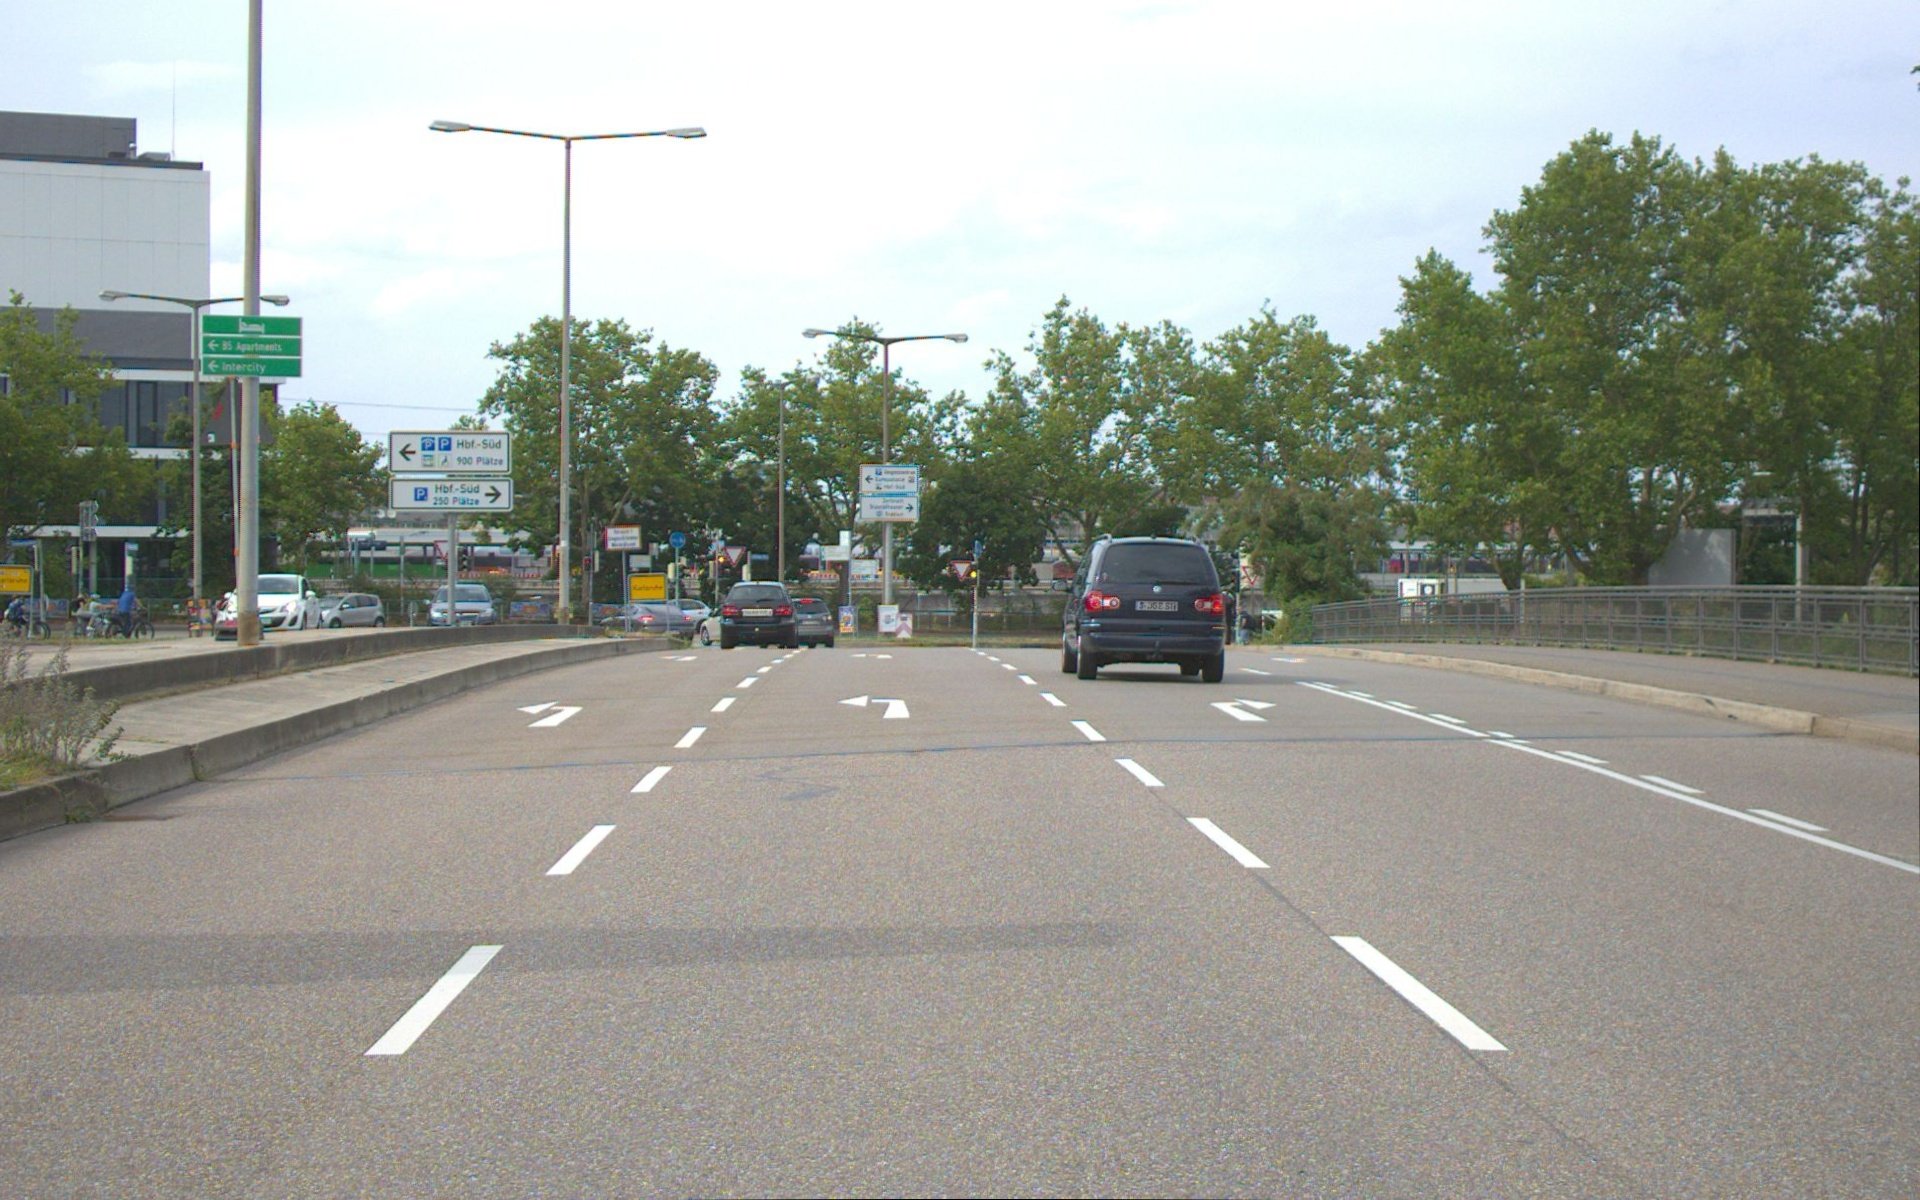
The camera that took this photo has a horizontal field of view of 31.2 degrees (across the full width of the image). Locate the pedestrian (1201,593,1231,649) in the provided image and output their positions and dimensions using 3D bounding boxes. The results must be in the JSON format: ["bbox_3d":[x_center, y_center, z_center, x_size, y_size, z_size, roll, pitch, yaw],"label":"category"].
[{"bbox_3d":[7.640,0.615,102.662,0.792,1.637,0.801,2,1,0],"label":"pedestrian"}]

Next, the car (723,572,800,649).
[{"bbox_3d":[-4.703,0.220,81.773,1.730,1.647,4.116,1,2,-3],"label":"car"}]

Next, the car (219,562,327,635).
[{"bbox_3d":[-14.734,-0.061,73.881,1.736,1.477,4.084,-1,1,-4],"label":"car"}]

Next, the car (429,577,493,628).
[{"bbox_3d":[-12.721,0.040,87.549,1.502,1.210,4.085,-1,1,-9],"label":"car"}]

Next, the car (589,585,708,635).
[{"bbox_3d":[-9.866,0.303,108.913,3.630,1.414,1.732,3,2,42],"label":"car"}]

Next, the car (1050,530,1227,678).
[{"bbox_3d":[2.148,0.011,42.292,1.730,1.647,4.116,1,2,-3],"label":"car"}]

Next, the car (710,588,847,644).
[{"bbox_3d":[-5.618,0.480,106.167,4.111,1.521,1.732,3,2,39],"label":"car"}]

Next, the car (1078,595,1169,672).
[{"bbox_3d":[3.876,0.774,81.919,1.730,1.647,4.116,1,2,-3],"label":"car"}]
